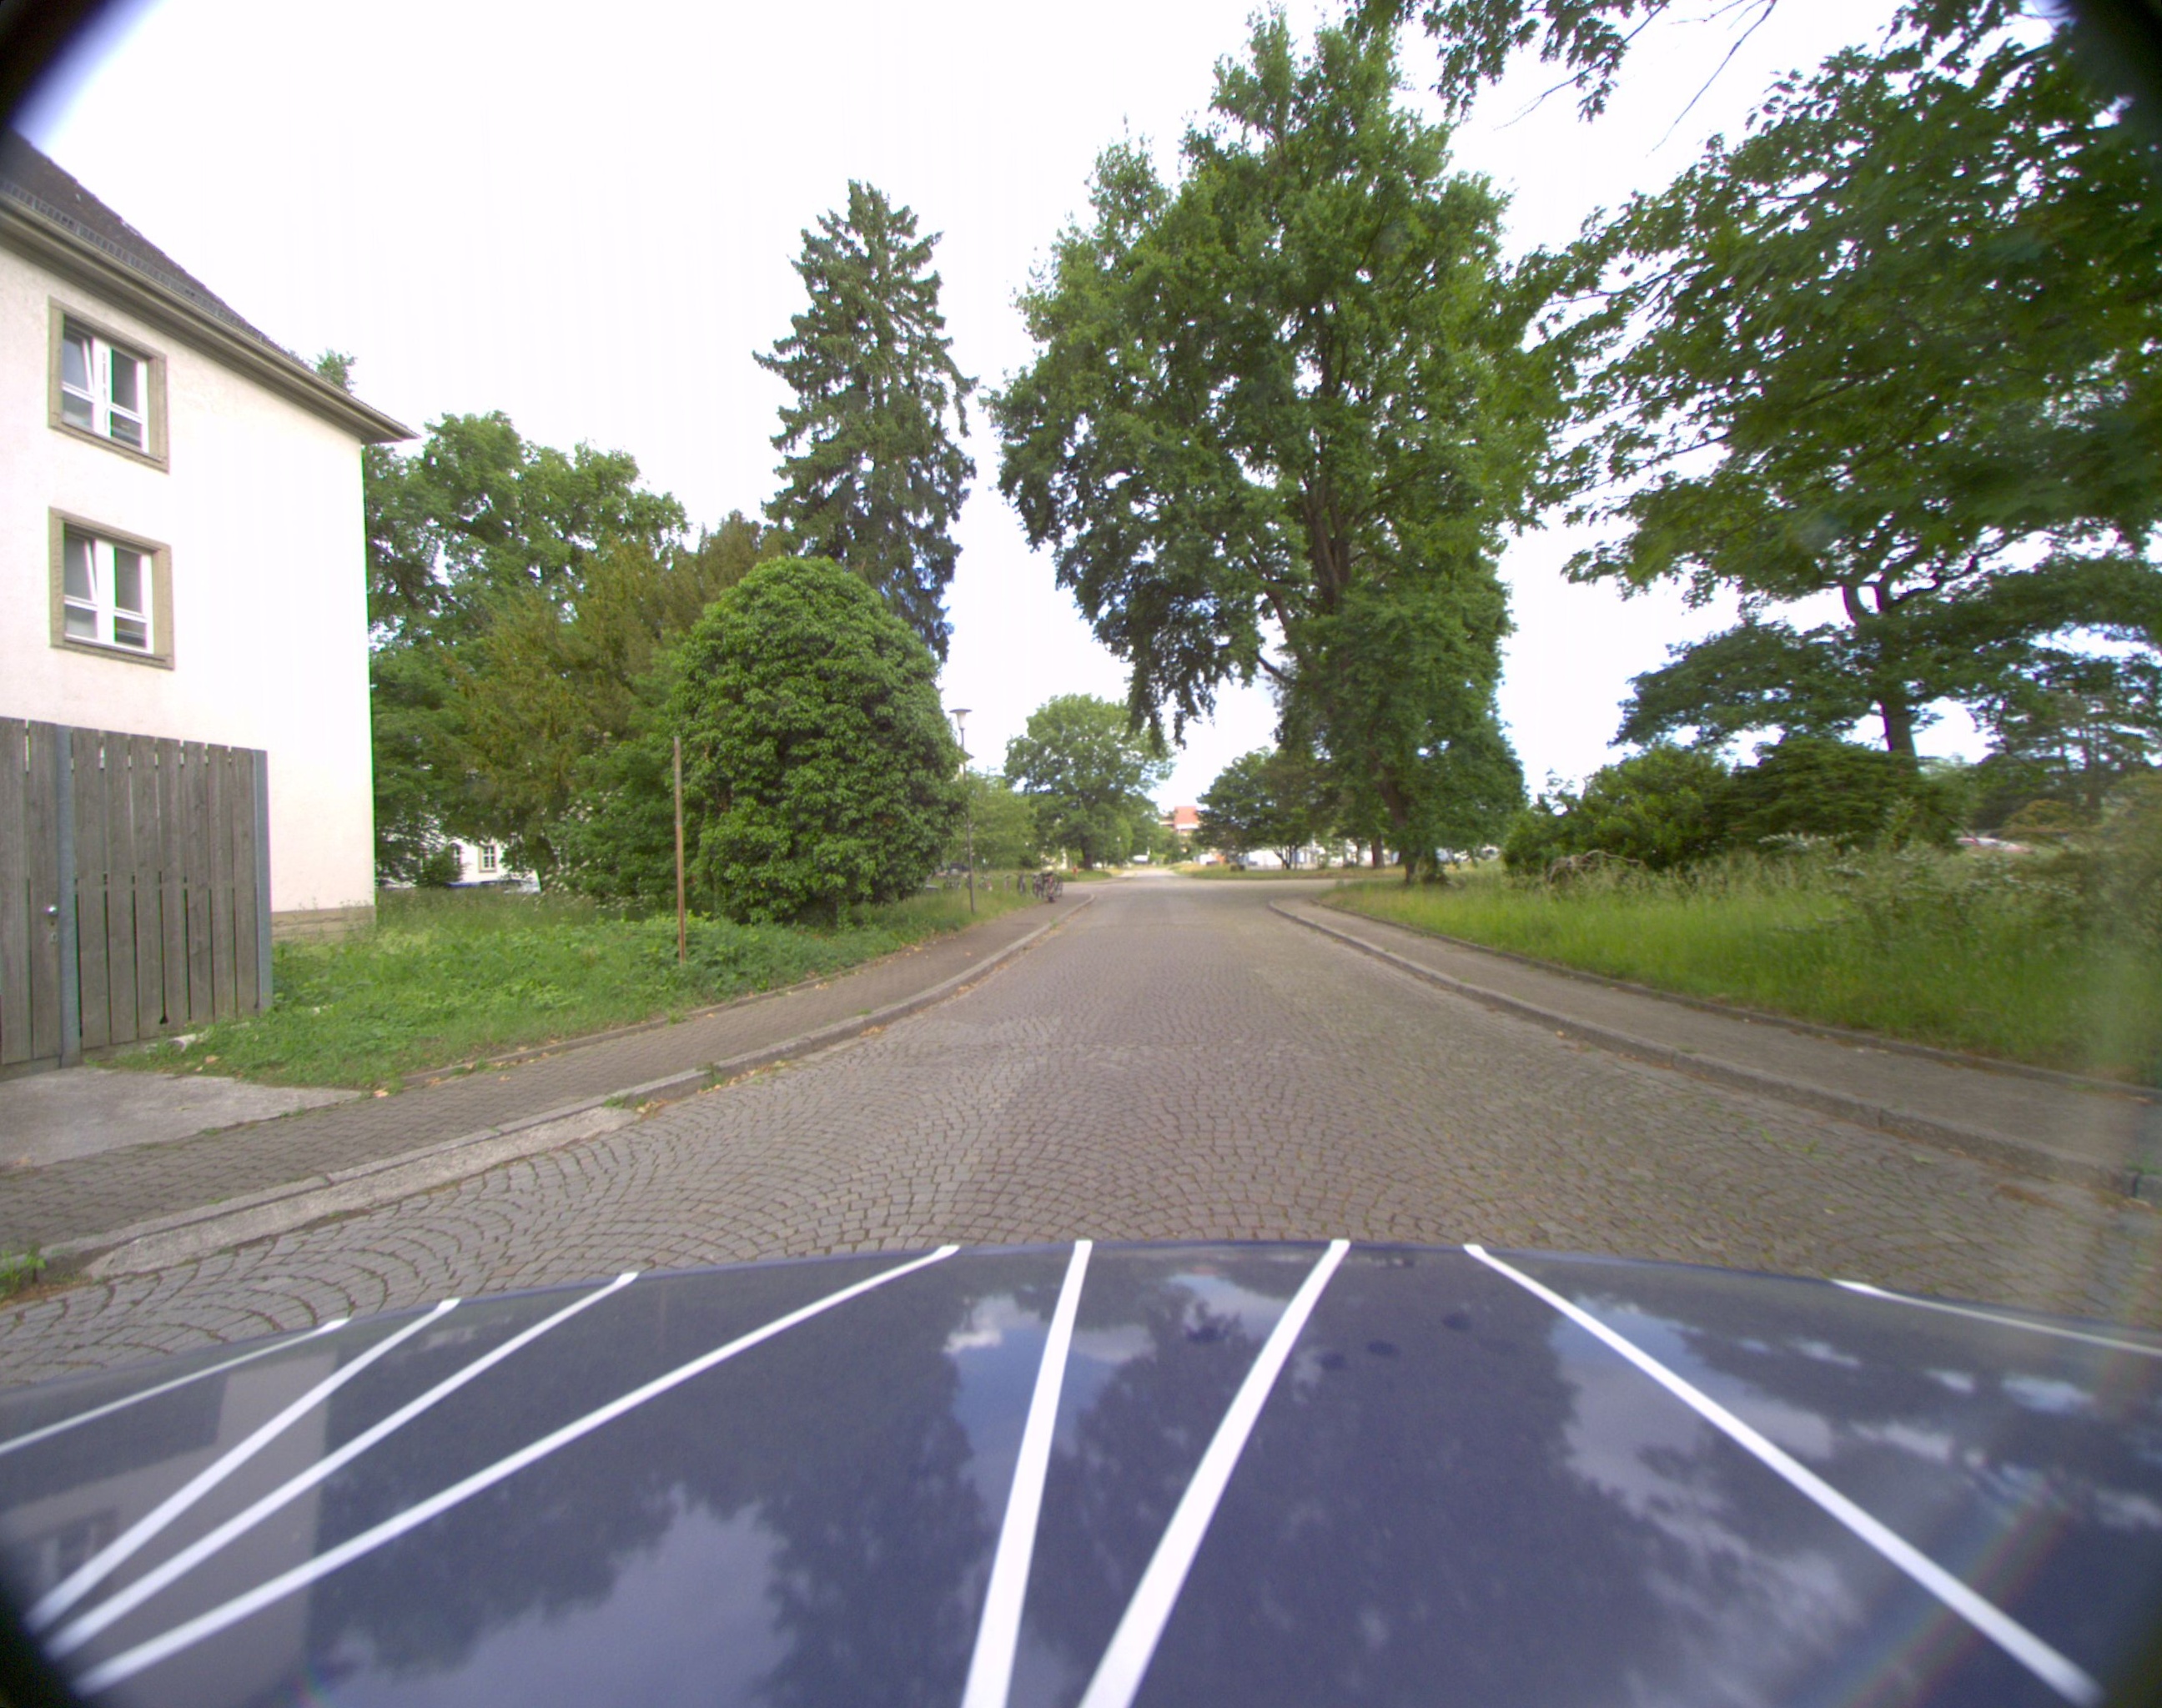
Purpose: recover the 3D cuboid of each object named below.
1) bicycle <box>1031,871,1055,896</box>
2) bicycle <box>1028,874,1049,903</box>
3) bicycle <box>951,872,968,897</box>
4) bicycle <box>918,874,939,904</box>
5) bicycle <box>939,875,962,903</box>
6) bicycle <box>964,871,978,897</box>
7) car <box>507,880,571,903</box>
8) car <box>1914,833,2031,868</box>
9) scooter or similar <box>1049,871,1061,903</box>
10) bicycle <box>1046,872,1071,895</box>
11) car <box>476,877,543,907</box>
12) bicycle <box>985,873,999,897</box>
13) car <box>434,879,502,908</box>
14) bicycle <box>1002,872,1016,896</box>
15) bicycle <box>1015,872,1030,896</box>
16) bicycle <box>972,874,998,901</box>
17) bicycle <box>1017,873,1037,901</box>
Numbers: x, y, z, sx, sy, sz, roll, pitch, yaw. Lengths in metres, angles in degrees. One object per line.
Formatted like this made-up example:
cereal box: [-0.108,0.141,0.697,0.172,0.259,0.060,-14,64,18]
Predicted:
bicycle: [-1.748,1.357,35.104,0.478,1.068,1.619,-3,1,-25]
bicycle: [-1.751,1.394,31.224,0.551,1.108,1.768,-2,0,-12]
bicycle: [-5.490,1.361,34.295,0.478,1.105,1.763,-2,0,-16]
bicycle: [-6.261,1.425,31.182,0.551,1.164,1.754,-2,0,-3]
bicycle: [-5.240,1.385,30.458,0.552,1.059,1.751,-2,0,-20]
bicycle: [-4.962,1.339,34.203,0.478,1.105,1.764,-2,0,-11]
car: [-32.715,2.246,45.977,1.295,1.210,3.251,-2,0,5]
car: [42.586,-0.136,36.420,1.600,1.473,3.502,-2,-2,4]
scooter or similar: [-1.035,1.274,29.918,0.357,1.202,1.137,-2,0,1]
bicycle: [-1.045,1.351,35.013,0.478,1.002,1.619,-3,1,-25]
car: [-34.942,2.273,46.523,1.438,1.651,3.250,-2,0,5]
bicycle: [-4.062,1.396,34.597,0.478,1.002,1.665,-2,1,-11]
car: [-38.120,2.434,47.341,1.383,1.555,3.250,-2,0,5]
bicycle: [-3.286,1.367,34.610,0.478,1.002,1.665,-2,1,-11]
bicycle: [-2.667,1.344,34.663,0.478,1.002,1.665,-2,1,-11]
bicycle: [-3.907,1.341,30.821,0.619,1.059,1.823,-2,0,-20]
bicycle: [-2.223,1.330,31.060,0.551,1.108,1.803,-2,0,-12]
